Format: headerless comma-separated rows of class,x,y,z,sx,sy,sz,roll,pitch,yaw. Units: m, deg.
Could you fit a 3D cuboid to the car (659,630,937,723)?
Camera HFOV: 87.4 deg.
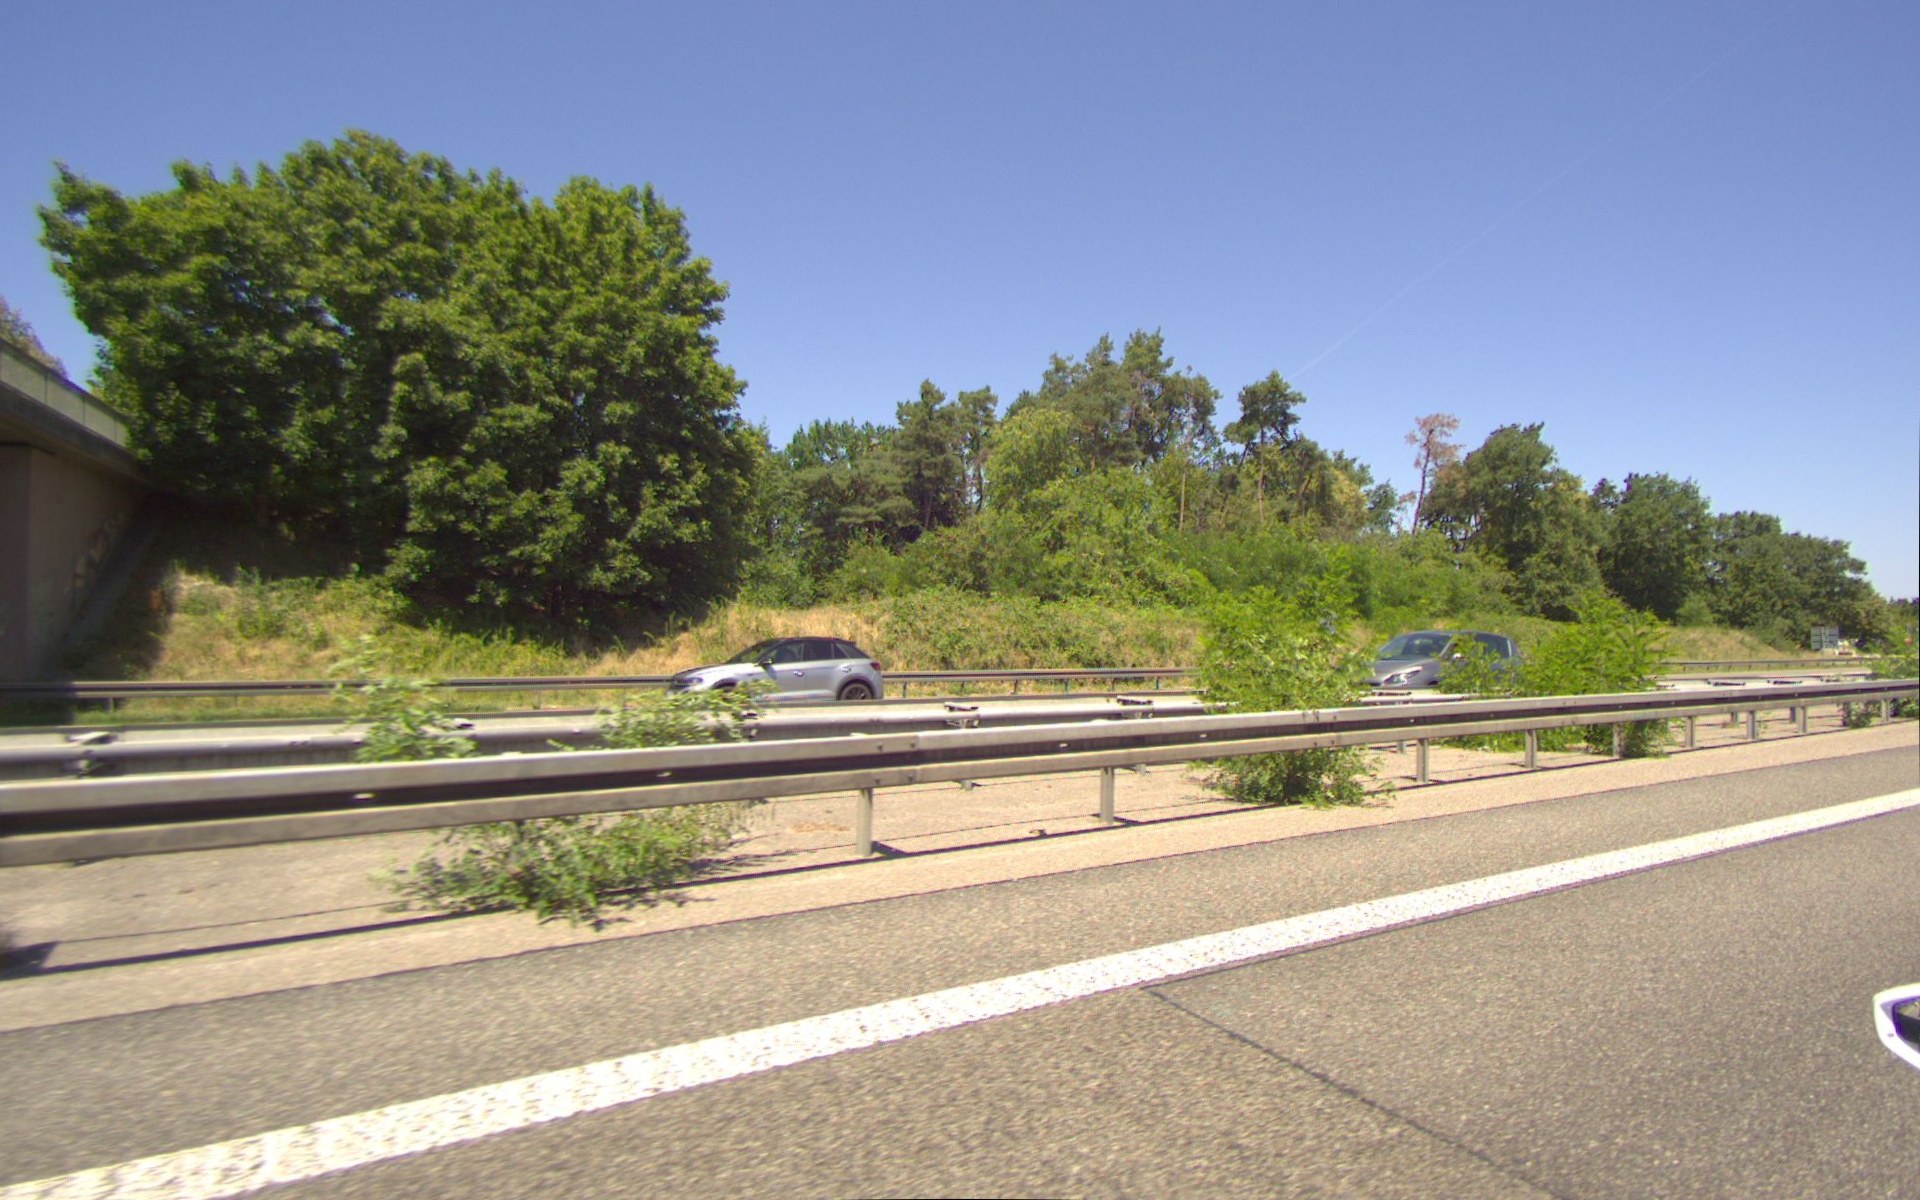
car,-3.156,1.444,19.874,5.003,1.631,2.217,1,-4,-32

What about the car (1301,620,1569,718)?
car,9.049,1.254,19.028,5.003,1.631,2.217,1,-4,-32

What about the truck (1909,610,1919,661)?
truck,95.762,3.360,97.833,7.635,4.890,3.053,1,-4,-34
